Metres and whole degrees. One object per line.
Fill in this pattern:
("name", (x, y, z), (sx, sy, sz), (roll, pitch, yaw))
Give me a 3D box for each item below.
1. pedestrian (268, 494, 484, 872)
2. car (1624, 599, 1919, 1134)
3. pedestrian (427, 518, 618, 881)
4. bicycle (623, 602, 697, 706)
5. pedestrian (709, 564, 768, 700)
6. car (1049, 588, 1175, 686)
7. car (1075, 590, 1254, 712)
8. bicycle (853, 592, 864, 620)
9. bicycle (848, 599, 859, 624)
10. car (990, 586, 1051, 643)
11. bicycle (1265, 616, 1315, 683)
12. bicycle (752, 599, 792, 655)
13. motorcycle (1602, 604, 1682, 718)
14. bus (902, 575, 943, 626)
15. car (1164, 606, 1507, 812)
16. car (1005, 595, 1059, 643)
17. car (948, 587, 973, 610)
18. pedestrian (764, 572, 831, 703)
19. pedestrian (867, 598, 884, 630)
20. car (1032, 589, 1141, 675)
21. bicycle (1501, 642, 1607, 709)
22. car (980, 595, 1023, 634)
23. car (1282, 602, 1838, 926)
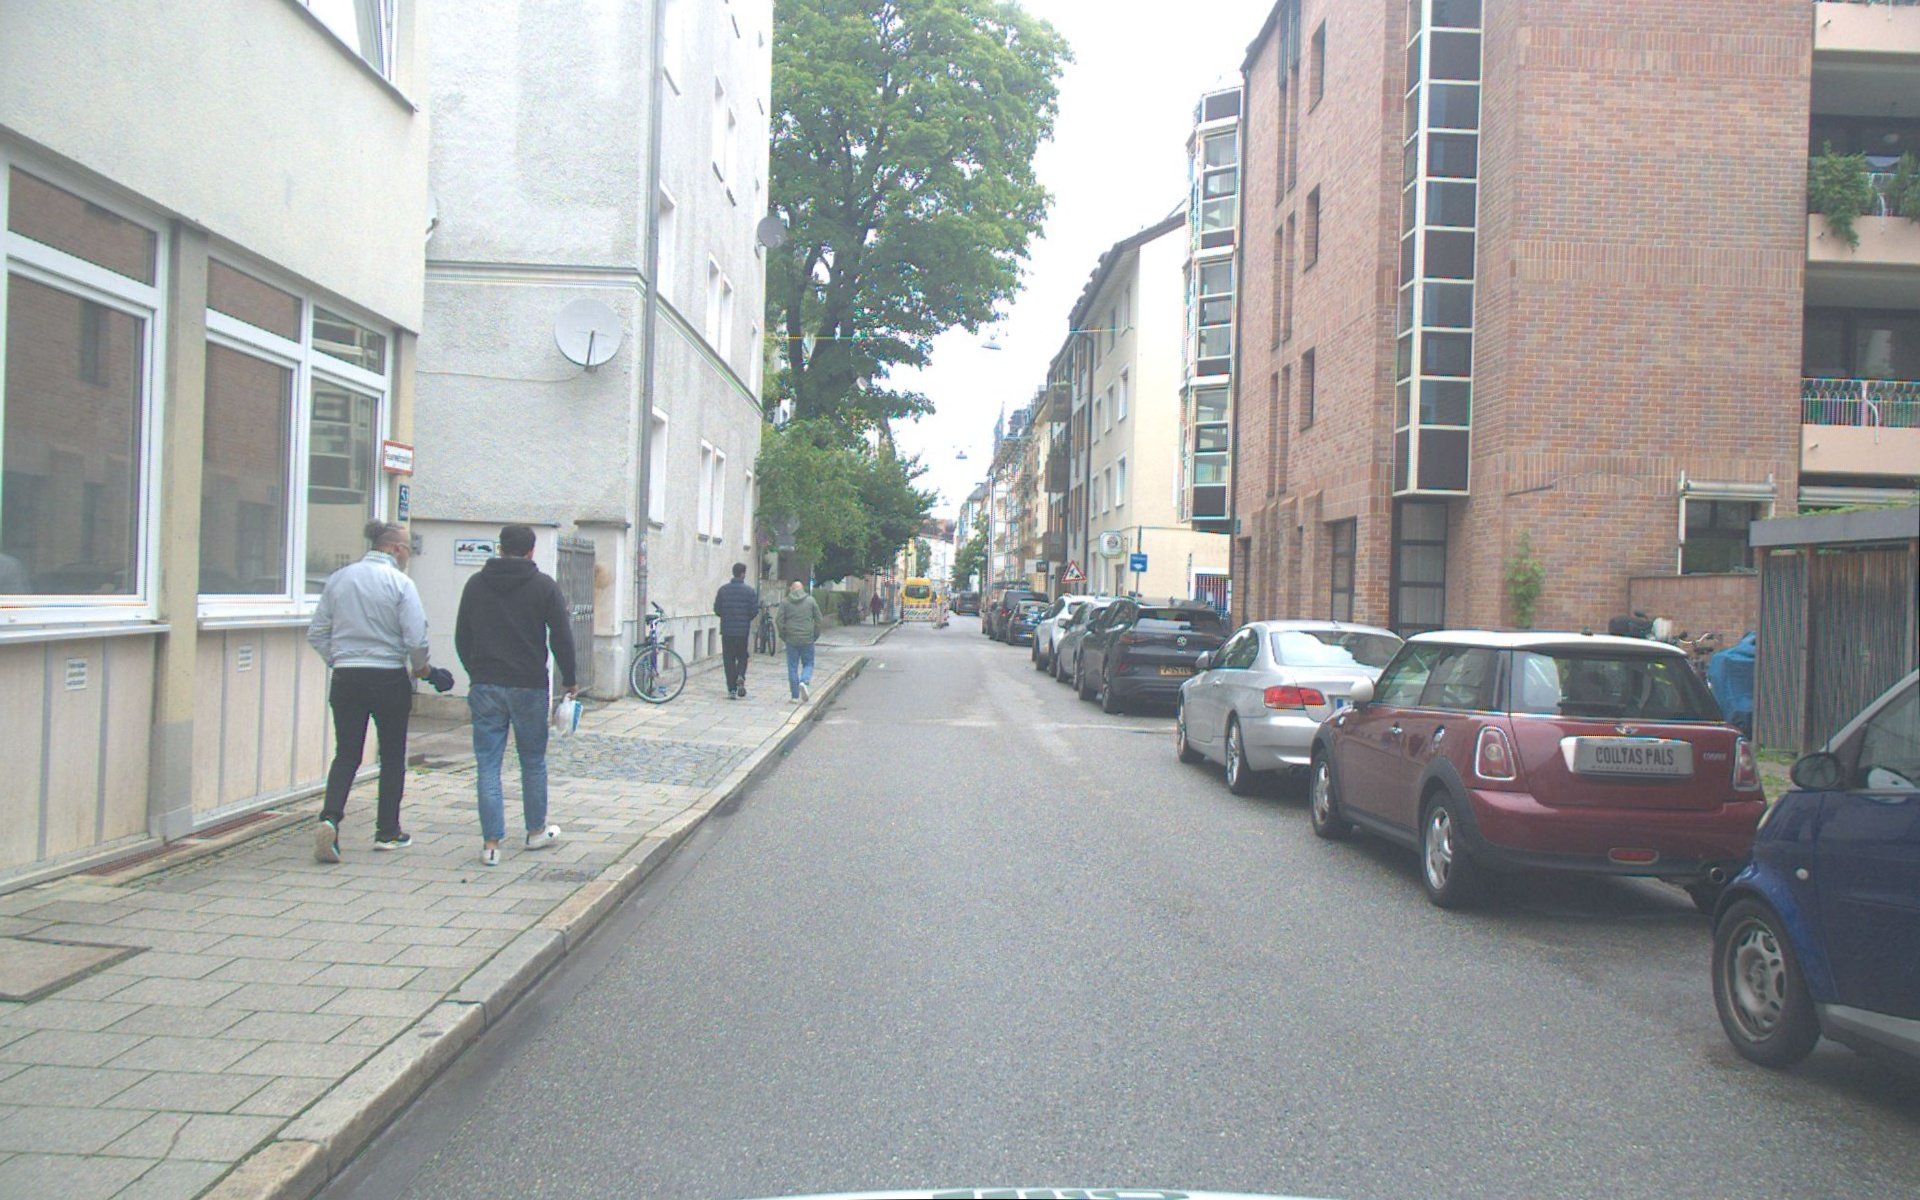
("pedestrian", (-3.008, 0.411, 8.607), (0.704, 1.828, 0.916), (3, -1, -1))
("car", (3.527, 0.797, 5.167), (1.490, 1.538, 3.201), (2, 0, -2))
("pedestrian", (-2.296, 0.505, 8.783), (0.704, 1.796, 0.838), (3, -1, -1))
("bicycle", (-3.738, 0.643, 20.552), (0.632, 1.239, 1.655), (1, 0, -20))
("pedestrian", (-2.963, 0.423, 22.180), (0.600, 1.743, 0.823), (3, -1, -2))
("car", (2.717, 0.643, 30.312), (1.687, 1.664, 3.878), (1, 0, -4))
("car", (2.910, 0.674, 24.470), (1.848, 1.582, 4.389), (2, 0, -3))
("bicycle", (-5.374, 0.313, 87.352), (0.504, 1.442, 1.933), (1, 0, -1))
("bicycle", (-4.790, 0.526, 74.559), (0.437, 1.092, 2.466), (1, 0, -3))
("car", (2.186, 0.504, 60.941), (1.766, 1.851, 3.998), (5, 0, -3))
("bicycle", (5.721, 0.850, 28.735), (0.548, 1.098, 1.471), (2, 0, -1))
("bicycle", (-4.000, 0.558, 35.157), (0.465, 1.130, 1.751), (2, 0, -18))
("motorcycle", (8.573, 0.740, 20.845), (0.528, 1.368, 1.942), (0, 0, 10))
("bus", (-2.399, 0.027, 106.538), (2.540, 3.156, 6.304), (1, 0, -1))
("car", (3.088, 0.824, 14.625), (1.799, 1.442, 4.599), (2, 0, -2))
("car", (2.426, 0.616, 56.585), (1.592, 1.513, 3.807), (2, 0, -1))
("car", (0.051, -0.107, 138.588), (1.766, 1.741, 3.825), (5, 0, -3))
("pedestrian", (-2.182, 0.499, 22.297), (0.738, 1.688, 0.906), (3, -1, -1))
("pedestrian", (-4.057, 0.687, 79.482), (0.740, 1.517, 0.831), (1, -1, -1))
("car", (2.582, 0.627, 34.737), (1.714, 1.658, 4.194), (1, 0, -3))
("bicycle", (8.002, 1.015, 22.297), (1.289, 0.874, 0.413), (1, -1, -1))
("car", (1.804, 0.628, 72.815), (1.603, 1.541, 3.828), (5, 0, -1))
("car", (3.297, 0.794, 10.030), (1.710, 1.487, 4.148), (2, 0, -2))
